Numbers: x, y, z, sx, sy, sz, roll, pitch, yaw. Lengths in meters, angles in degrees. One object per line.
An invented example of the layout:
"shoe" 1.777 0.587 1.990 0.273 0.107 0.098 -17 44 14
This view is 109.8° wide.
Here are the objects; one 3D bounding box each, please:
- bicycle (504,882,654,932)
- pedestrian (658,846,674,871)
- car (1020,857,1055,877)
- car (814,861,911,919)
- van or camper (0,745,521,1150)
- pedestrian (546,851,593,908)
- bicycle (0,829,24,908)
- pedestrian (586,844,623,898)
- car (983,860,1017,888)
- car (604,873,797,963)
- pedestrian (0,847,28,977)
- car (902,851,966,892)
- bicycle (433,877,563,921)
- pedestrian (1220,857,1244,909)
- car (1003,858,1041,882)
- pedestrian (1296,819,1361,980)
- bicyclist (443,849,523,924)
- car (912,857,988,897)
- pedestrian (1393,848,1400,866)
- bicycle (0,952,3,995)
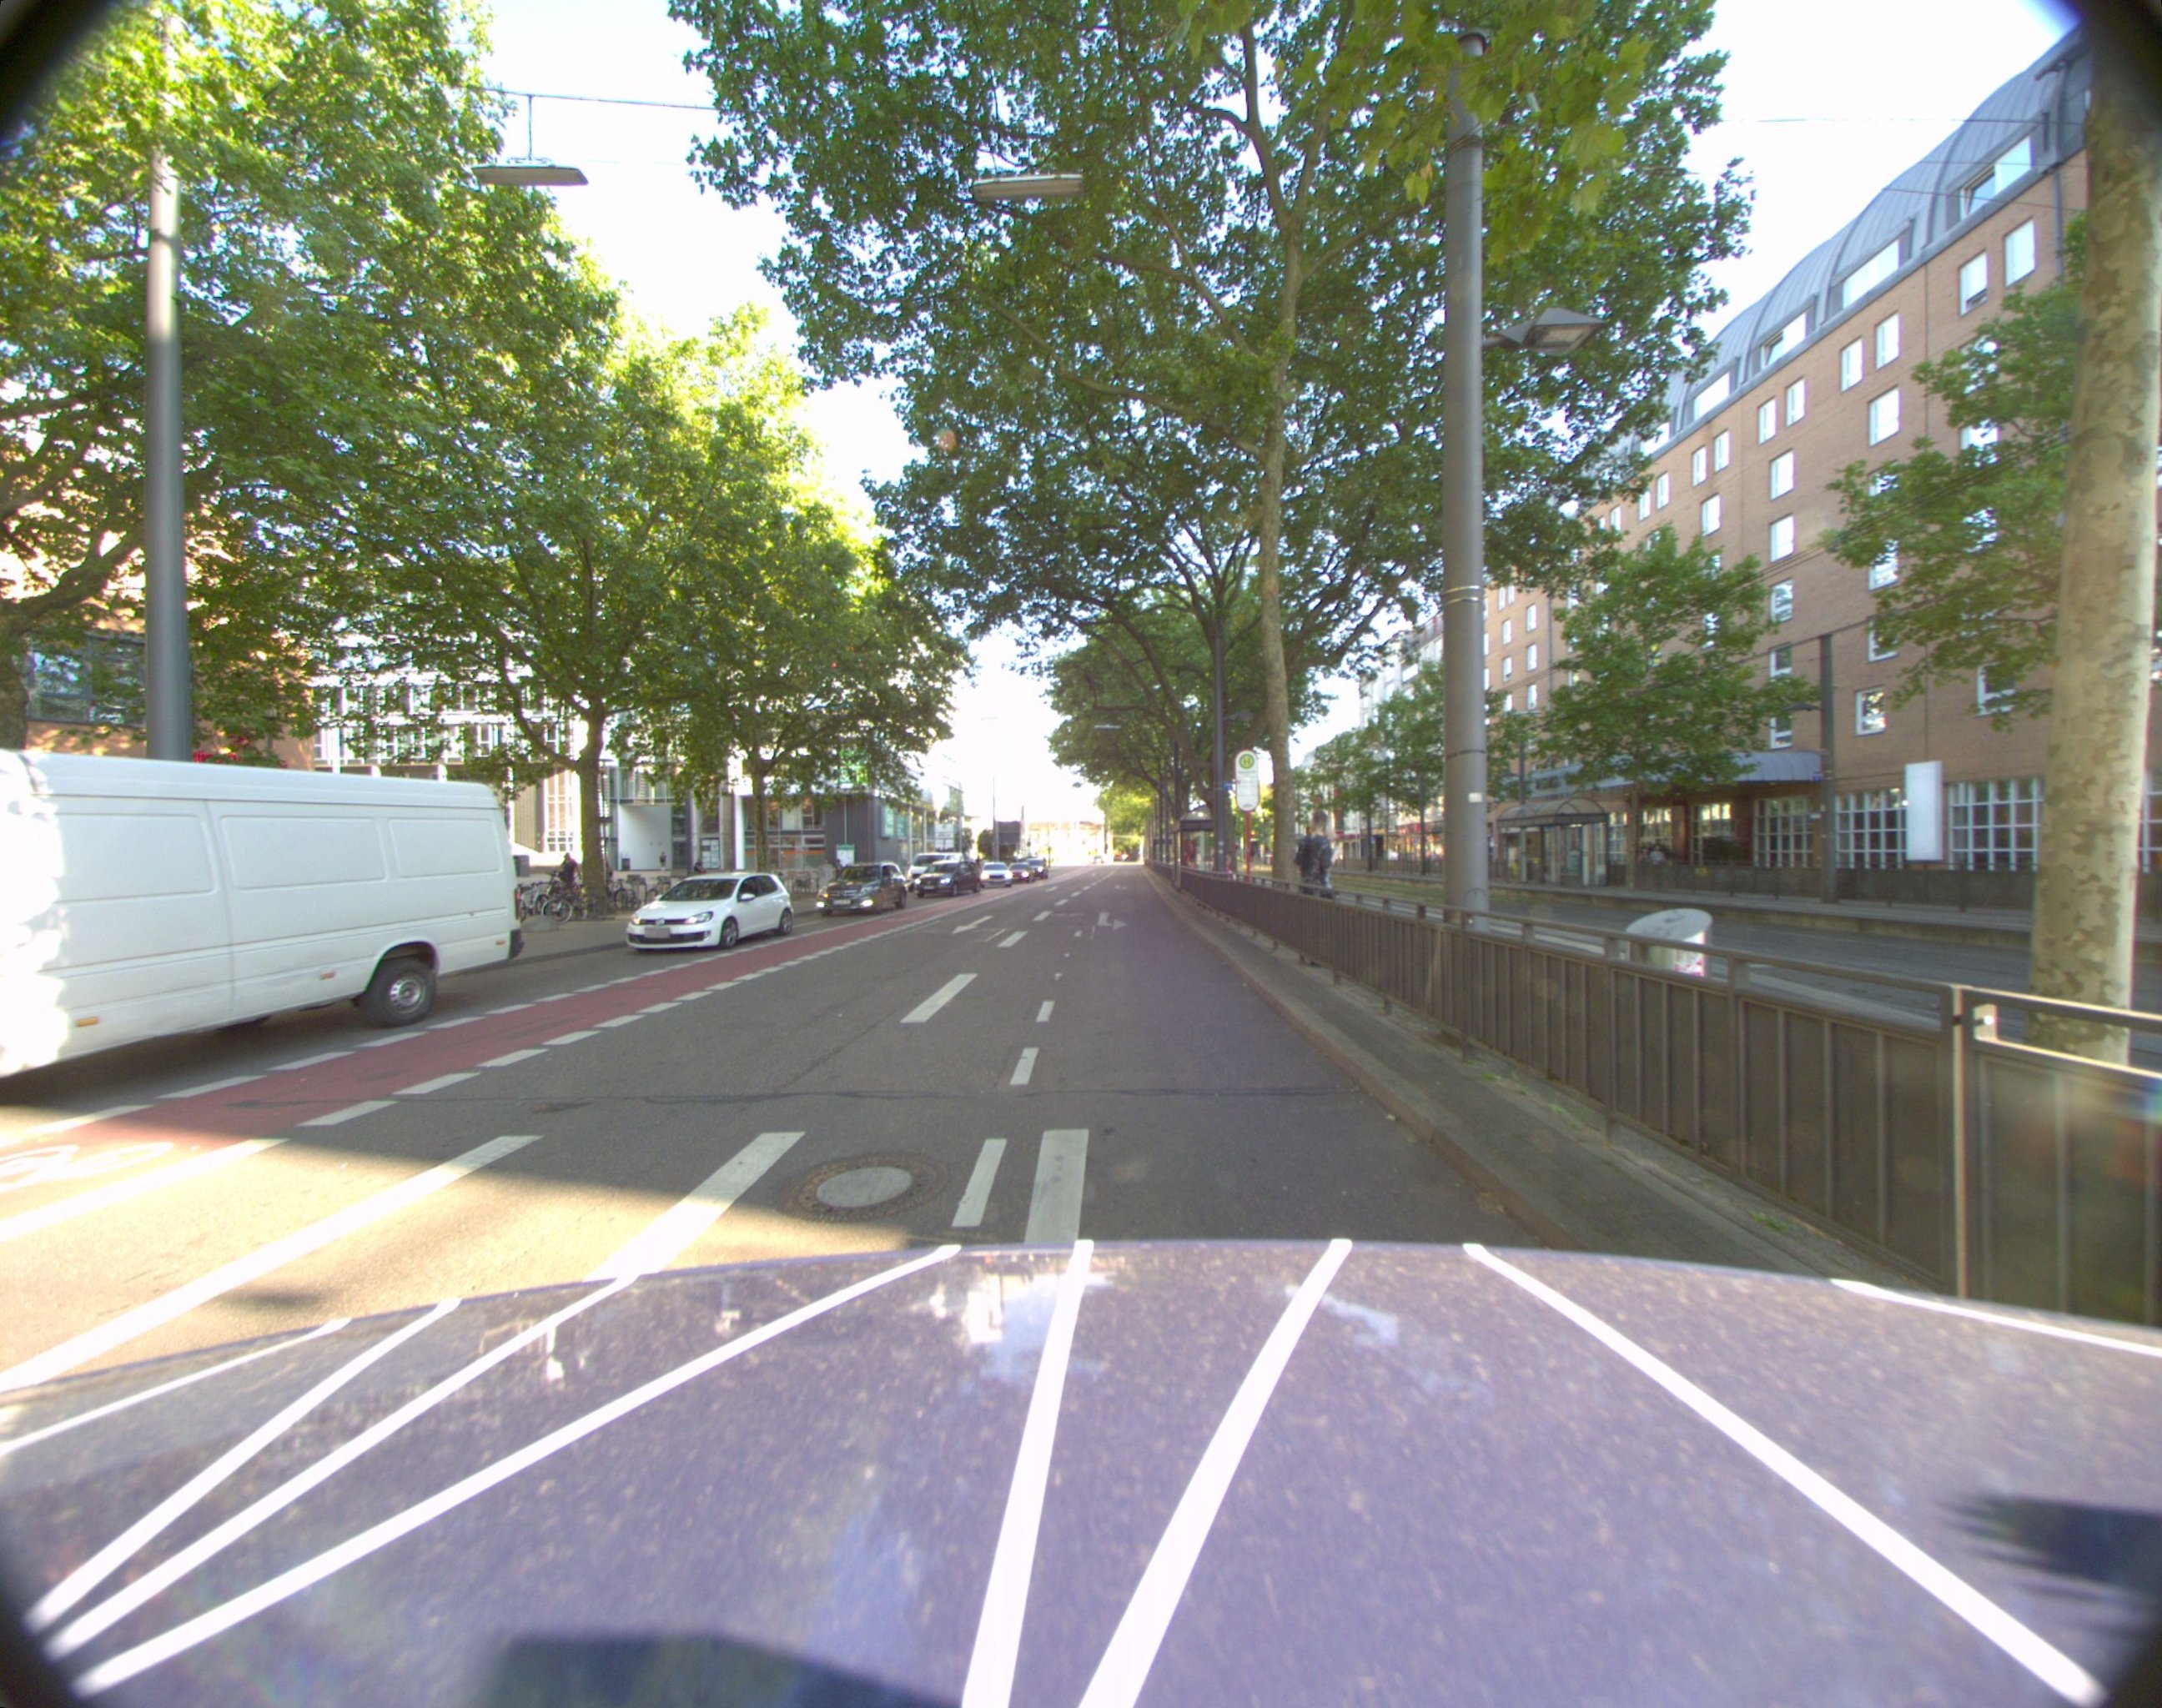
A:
"bicycle" -12.927 1.329 19.756 0.975 1.020 3.208 -2 1 23
"pedestrian" -33.850 0.348 61.983 0.797 2.002 0.875 -2 1 1
"car" -3.434 1.008 60.968 1.784 1.481 4.198 -3 0 10
"car" -6.928 1.094 24.587 1.769 1.626 4.250 -2 0 1
"van or camper" -7.907 0.604 5.981 2.004 2.599 6.498 -1 0 2
"pedestrian" -20.833 1.021 30.929 1.048 2.235 1.221 -1 1 38
"bicycle" -13.432 0.208 7.973 0.925 0.943 2.637 -2 1 1
"pedestrian" -19.991 0.713 31.888 0.842 2.220 0.905 -2 1 22
"car" -4.681 1.126 44.425 1.836 1.481 4.193 -2 0 -5
"car" -7.364 1.161 15.208 1.639 1.420 3.987 -2 0 3
"pedestrian" -17.073 0.893 11.466 0.934 2.002 1.091 -1 1 -25
"car" -7.609 0.850 39.981 1.933 1.953 5.919 -2 0 2
"bicycle" -16.096 1.217 20.992 3.328 1.077 1.150 0 1 18
"pedestrian" 3.907 0.749 19.638 0.542 1.310 0.524 -2 1 12
"car" -4.038 1.079 52.768 1.835 1.481 4.197 -3 0 6
"pedestrian" 2.911 0.519 8.964 0.543 1.823 0.524 -2 1 3
"bicyclist" -16.623 0.883 21.146 1.296 2.002 1.158 -1 1 17
"car" -5.918 1.021 34.883 1.708 1.626 4.395 -2 0 14
"pedestrian" 30.664 0.311 73.806 0.504 1.725 0.574 -1 1 3
"bicycle" -14.291 1.339 7.962 1.050 0.996 3.412 -2 1 1
